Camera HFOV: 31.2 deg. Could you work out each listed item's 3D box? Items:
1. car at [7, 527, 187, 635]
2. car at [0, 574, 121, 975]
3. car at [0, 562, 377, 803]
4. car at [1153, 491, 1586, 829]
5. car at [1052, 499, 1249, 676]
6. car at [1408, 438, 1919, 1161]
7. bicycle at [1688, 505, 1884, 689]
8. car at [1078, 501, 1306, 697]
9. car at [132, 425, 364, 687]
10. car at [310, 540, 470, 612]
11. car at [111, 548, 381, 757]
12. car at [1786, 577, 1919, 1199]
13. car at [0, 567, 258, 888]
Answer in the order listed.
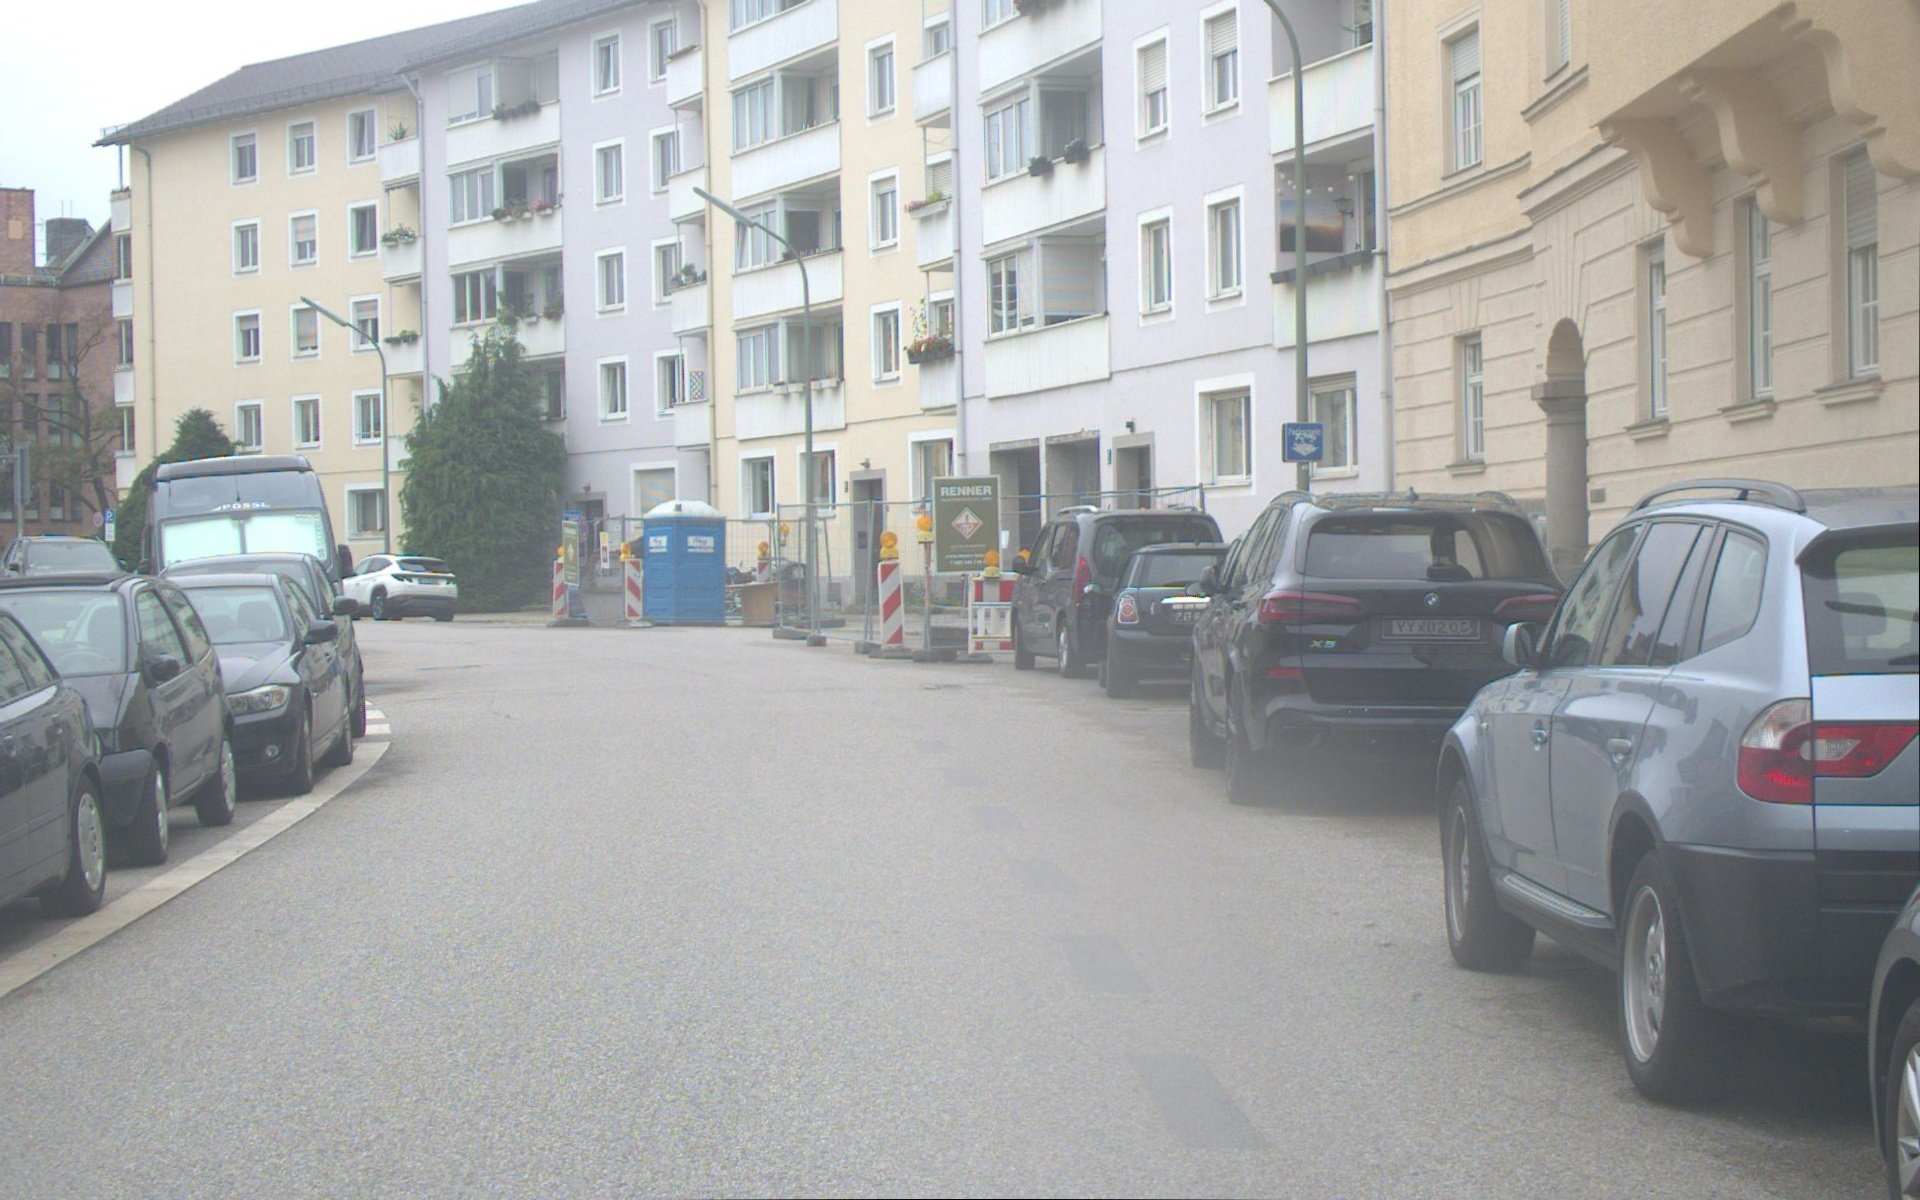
[{"bbox_3d":[-14.994,-0.362,59.543,1.993,1.766,4.815,-1,1,-27],"label":"car"},{"bbox_3d":[-4.462,0.683,12.992,1.721,1.476,4.205,-2,1,-3],"label":"car"},{"bbox_3d":[-4.966,0.467,22.620,1.721,1.359,4.213,-2,1,-3],"label":"car"},{"bbox_3d":[2.279,0.243,20.379,1.927,1.724,4.688,1,2,-1],"label":"car"},{"bbox_3d":[2.011,-0.149,37.433,1.836,1.793,4.238,1,1,-1],"label":"car"},{"bbox_3d":[2.570,0.464,10.432,1.777,1.724,4.390,1,1,-1],"label":"car"},{"bbox_3d":[5.912,-0.036,24.770,0.701,1.242,2.645,-1,1,-1],"label":"bicycle"},{"bbox_3d":[2.130,-0.030,32.495,1.836,1.724,3.730,1,1,-1],"label":"car"},{"bbox_3d":[-7.930,-0.497,37.862,2.143,2.565,6.213,-3,1,-14],"label":"car"},{"bbox_3d":[-13.828,-0.593,83.163,2.026,1.672,4.612,0,1,-35],"label":"car"},{"bbox_3d":[-5.545,0.370,26.997,1.666,1.455,2.868,-3,1,-5],"label":"car"},{"bbox_3d":[2.676,0.700,5.439,1.703,1.437,4.056,1,1,-1],"label":"car"},{"bbox_3d":[-4.849,0.604,18.001,1.721,1.476,3.755,-2,1,-3],"label":"car"}]
